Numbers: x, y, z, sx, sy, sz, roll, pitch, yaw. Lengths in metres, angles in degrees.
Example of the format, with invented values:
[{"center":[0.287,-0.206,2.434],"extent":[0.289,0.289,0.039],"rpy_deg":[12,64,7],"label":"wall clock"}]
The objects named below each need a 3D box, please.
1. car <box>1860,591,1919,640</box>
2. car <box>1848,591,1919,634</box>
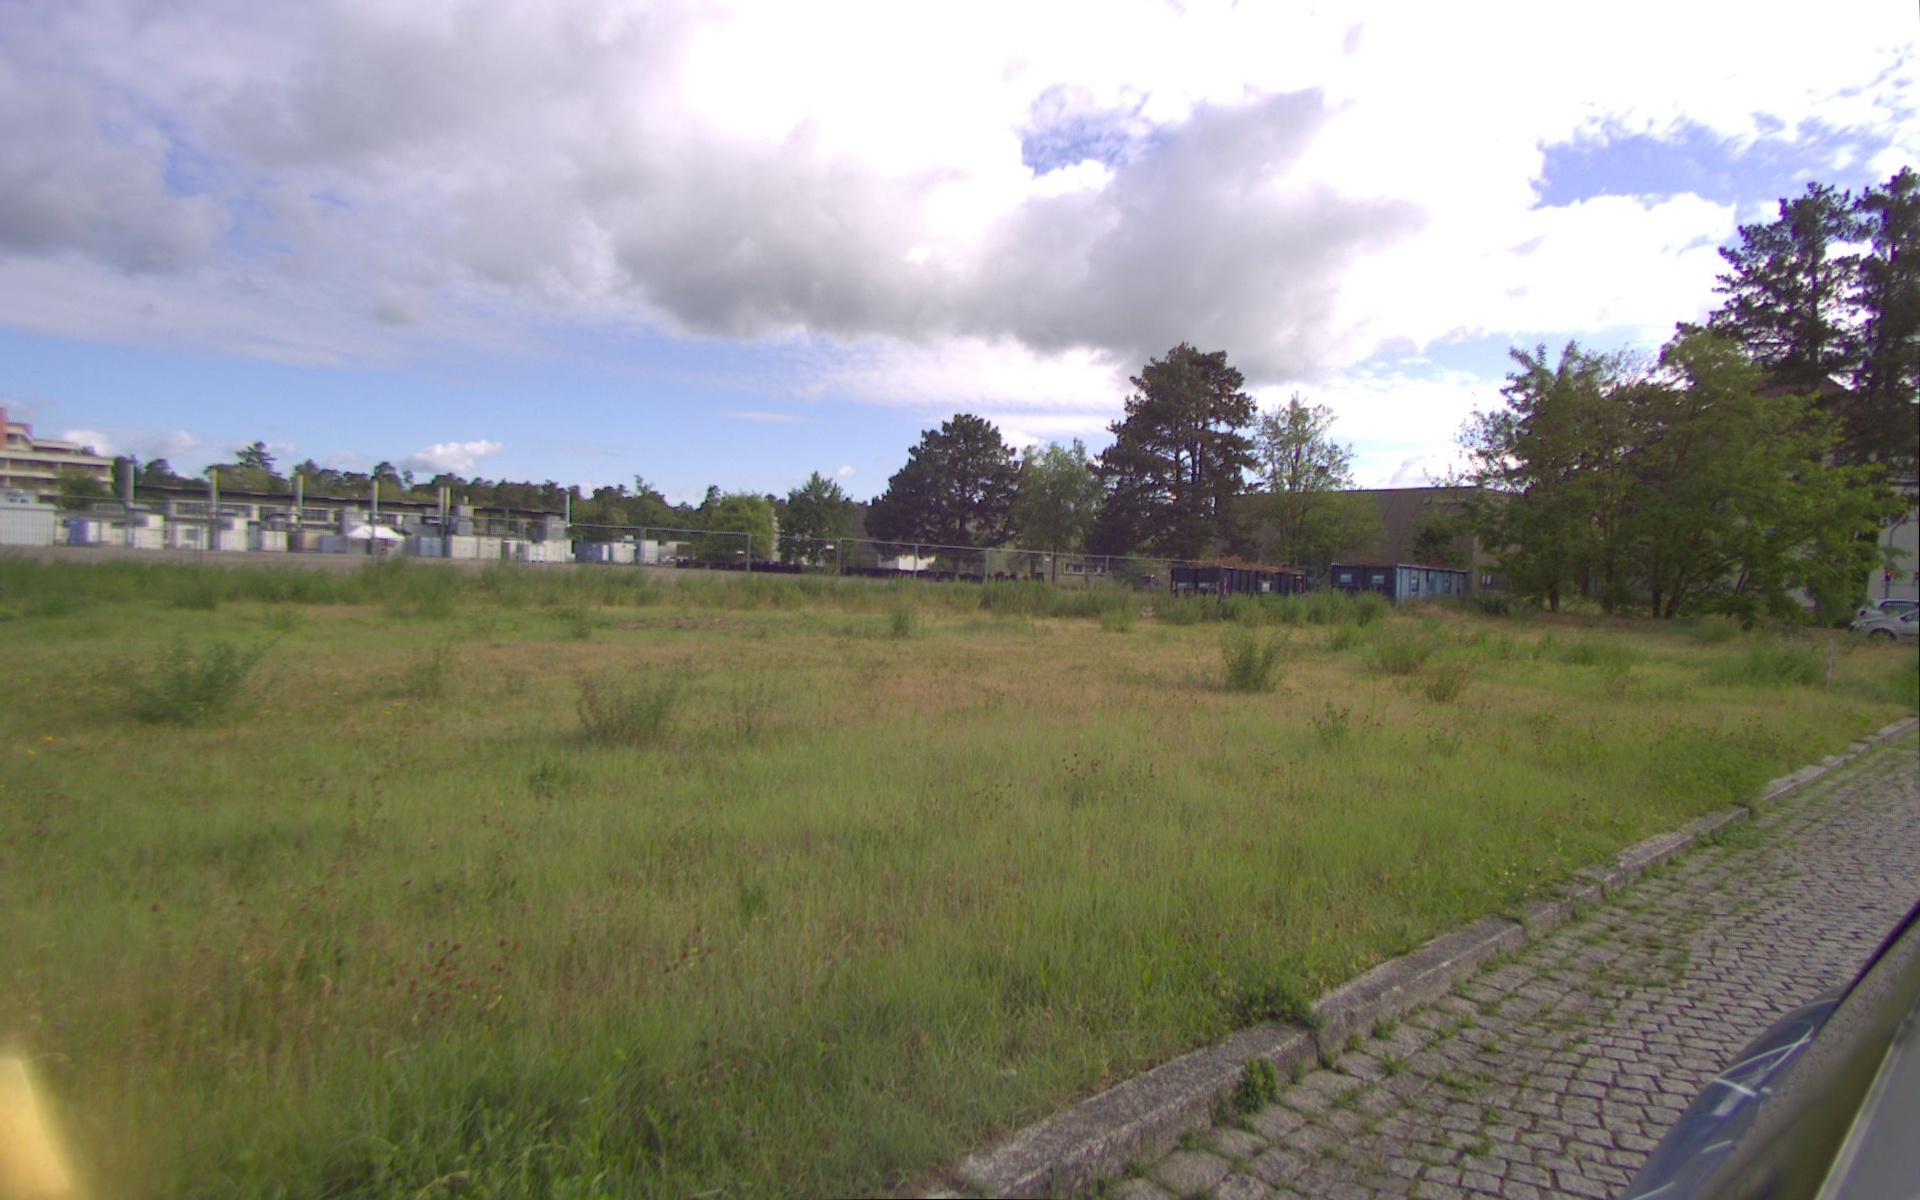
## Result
[{"center":[29.878,0.487,30.727],"extent":[1.600,1.456,3.723],"rpy_deg":[-1,1,-44],"label":"car"},{"center":[33.240,0.418,35.040],"extent":[3.718,1.456,1.602],"rpy_deg":[1,1,43],"label":"car"}]
